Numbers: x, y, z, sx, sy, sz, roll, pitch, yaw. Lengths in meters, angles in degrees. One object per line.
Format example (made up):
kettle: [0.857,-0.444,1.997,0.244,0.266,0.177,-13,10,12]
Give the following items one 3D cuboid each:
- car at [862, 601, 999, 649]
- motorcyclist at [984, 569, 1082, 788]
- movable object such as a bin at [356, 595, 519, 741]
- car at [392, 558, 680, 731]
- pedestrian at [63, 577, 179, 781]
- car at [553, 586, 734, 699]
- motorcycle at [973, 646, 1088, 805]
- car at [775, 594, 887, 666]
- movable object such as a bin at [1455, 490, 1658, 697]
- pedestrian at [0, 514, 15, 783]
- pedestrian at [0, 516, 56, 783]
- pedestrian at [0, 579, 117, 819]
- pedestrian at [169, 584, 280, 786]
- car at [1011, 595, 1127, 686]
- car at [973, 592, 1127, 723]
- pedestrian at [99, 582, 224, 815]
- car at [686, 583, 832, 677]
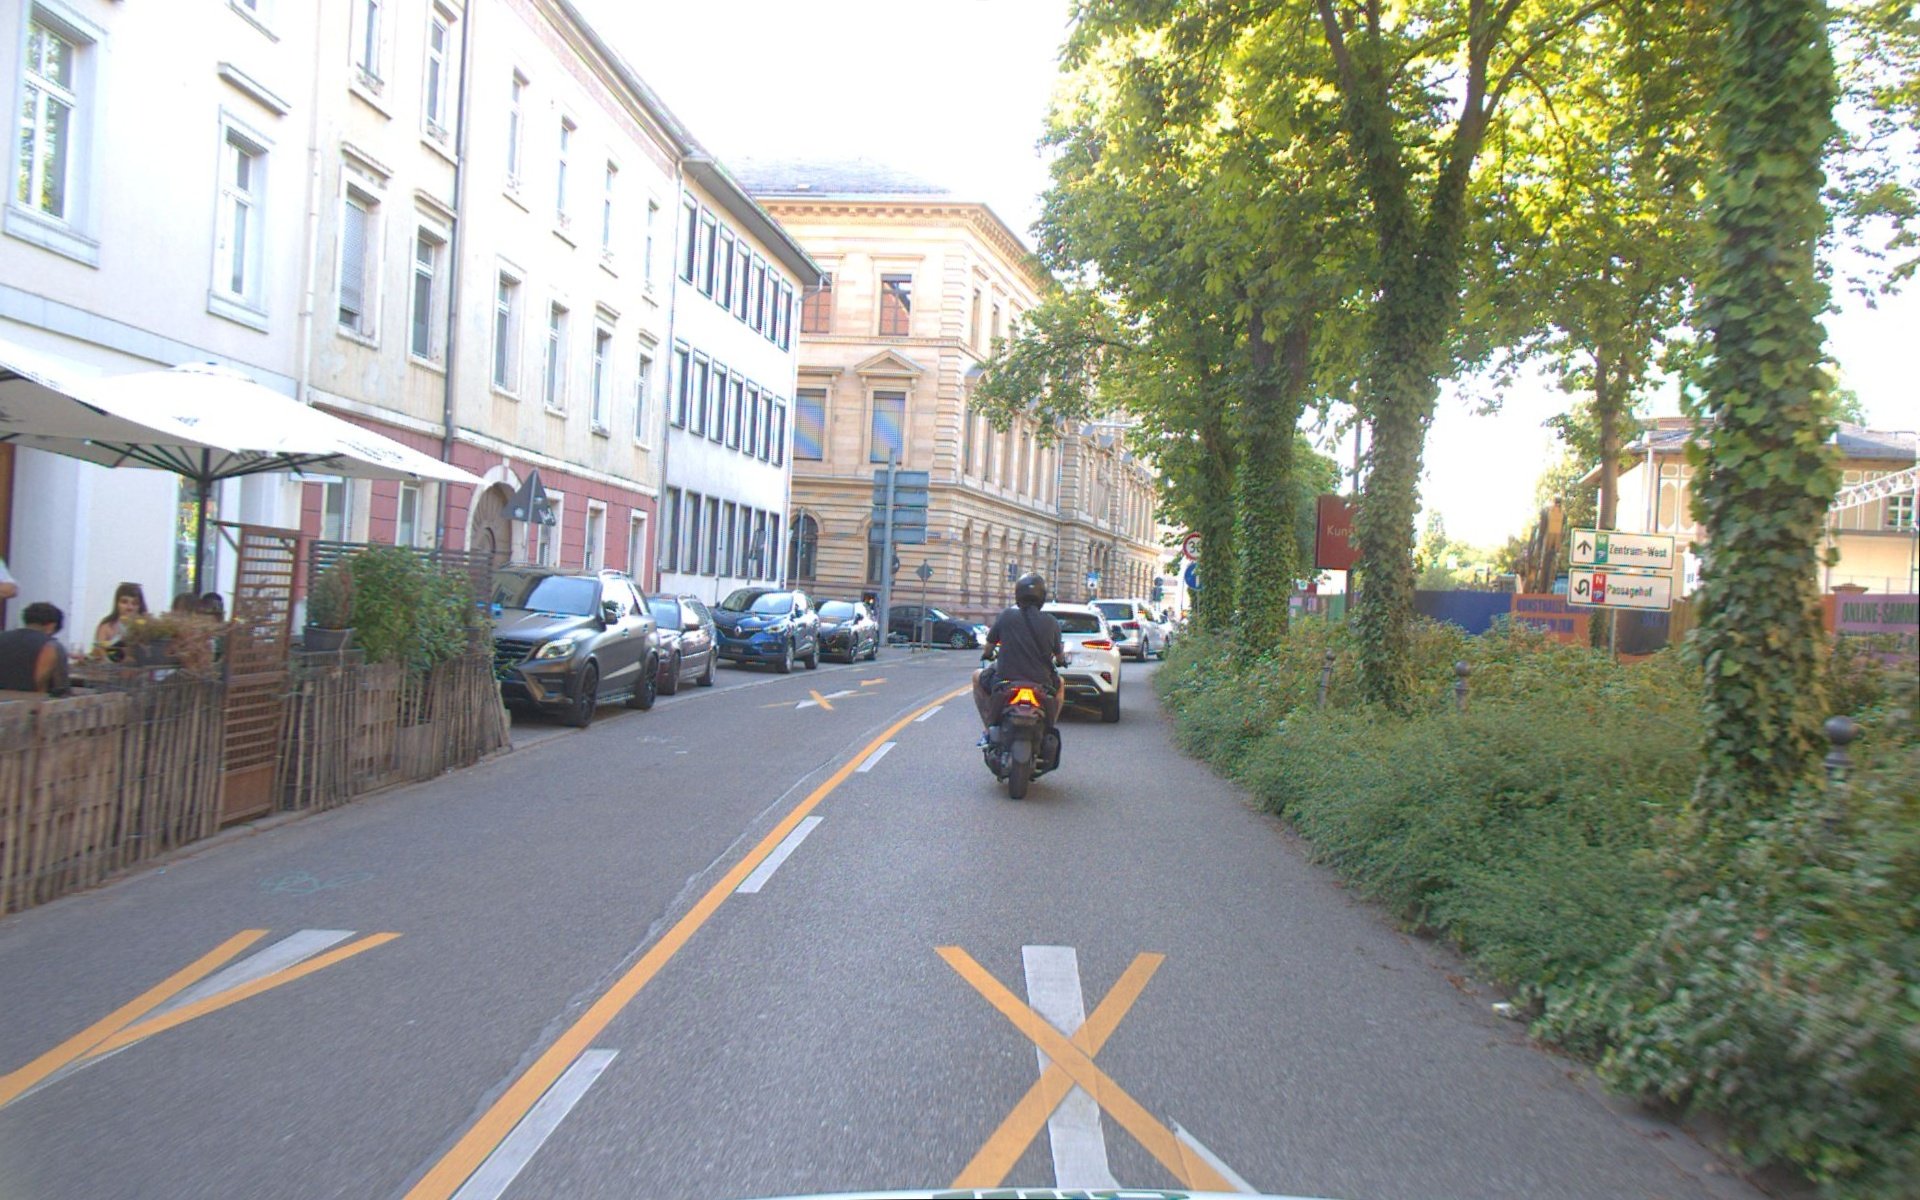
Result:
car: [-0.982,0.835,55.554,4.222,1.414,1.777,2,0,16]
motorcyclist: [0.577,0.617,13.344,0.644,1.679,0.650,4,0,-1]
movable object such as a bin: [-5.076,0.644,16.135,1.190,1.318,0.931,3,0,6]
car: [-4.813,0.464,19.588,1.882,1.709,4.787,3,0,3]
pedestrian: [-6.065,0.561,11.974,0.513,1.415,0.488,3,0,-2]
car: [-4.705,0.596,25.199,1.619,1.506,4.429,3,0,3]
motorcycle: [0.545,0.962,13.217,0.780,1.084,1.725,4,0,1]
car: [-3.095,0.699,40.703,1.785,1.529,4.763,4,0,6]
movable object such as a bin: [14.841,-0.133,41.845,3.237,4.618,7.911,2,0,9]
pedestrian: [-6.275,0.353,10.161,0.583,1.806,0.439,3,0,9]
pedestrian: [-6.653,0.330,11.328,0.428,1.806,0.598,3,0,14]
pedestrian: [-5.600,0.594,10.164,0.513,1.415,0.488,3,0,-2]
pedestrian: [-5.344,0.607,12.035,0.513,1.415,0.488,3,0,-2]
car: [2.152,0.738,31.649,1.801,1.489,4.060,4,0,8]
car: [1.314,0.720,22.510,1.812,1.506,4.060,3,0,6]
pedestrian: [-5.196,0.627,10.785,0.461,1.458,0.502,3,0,6]
car: [-4.000,0.577,33.622,1.893,1.696,4.350,3,0,7]
